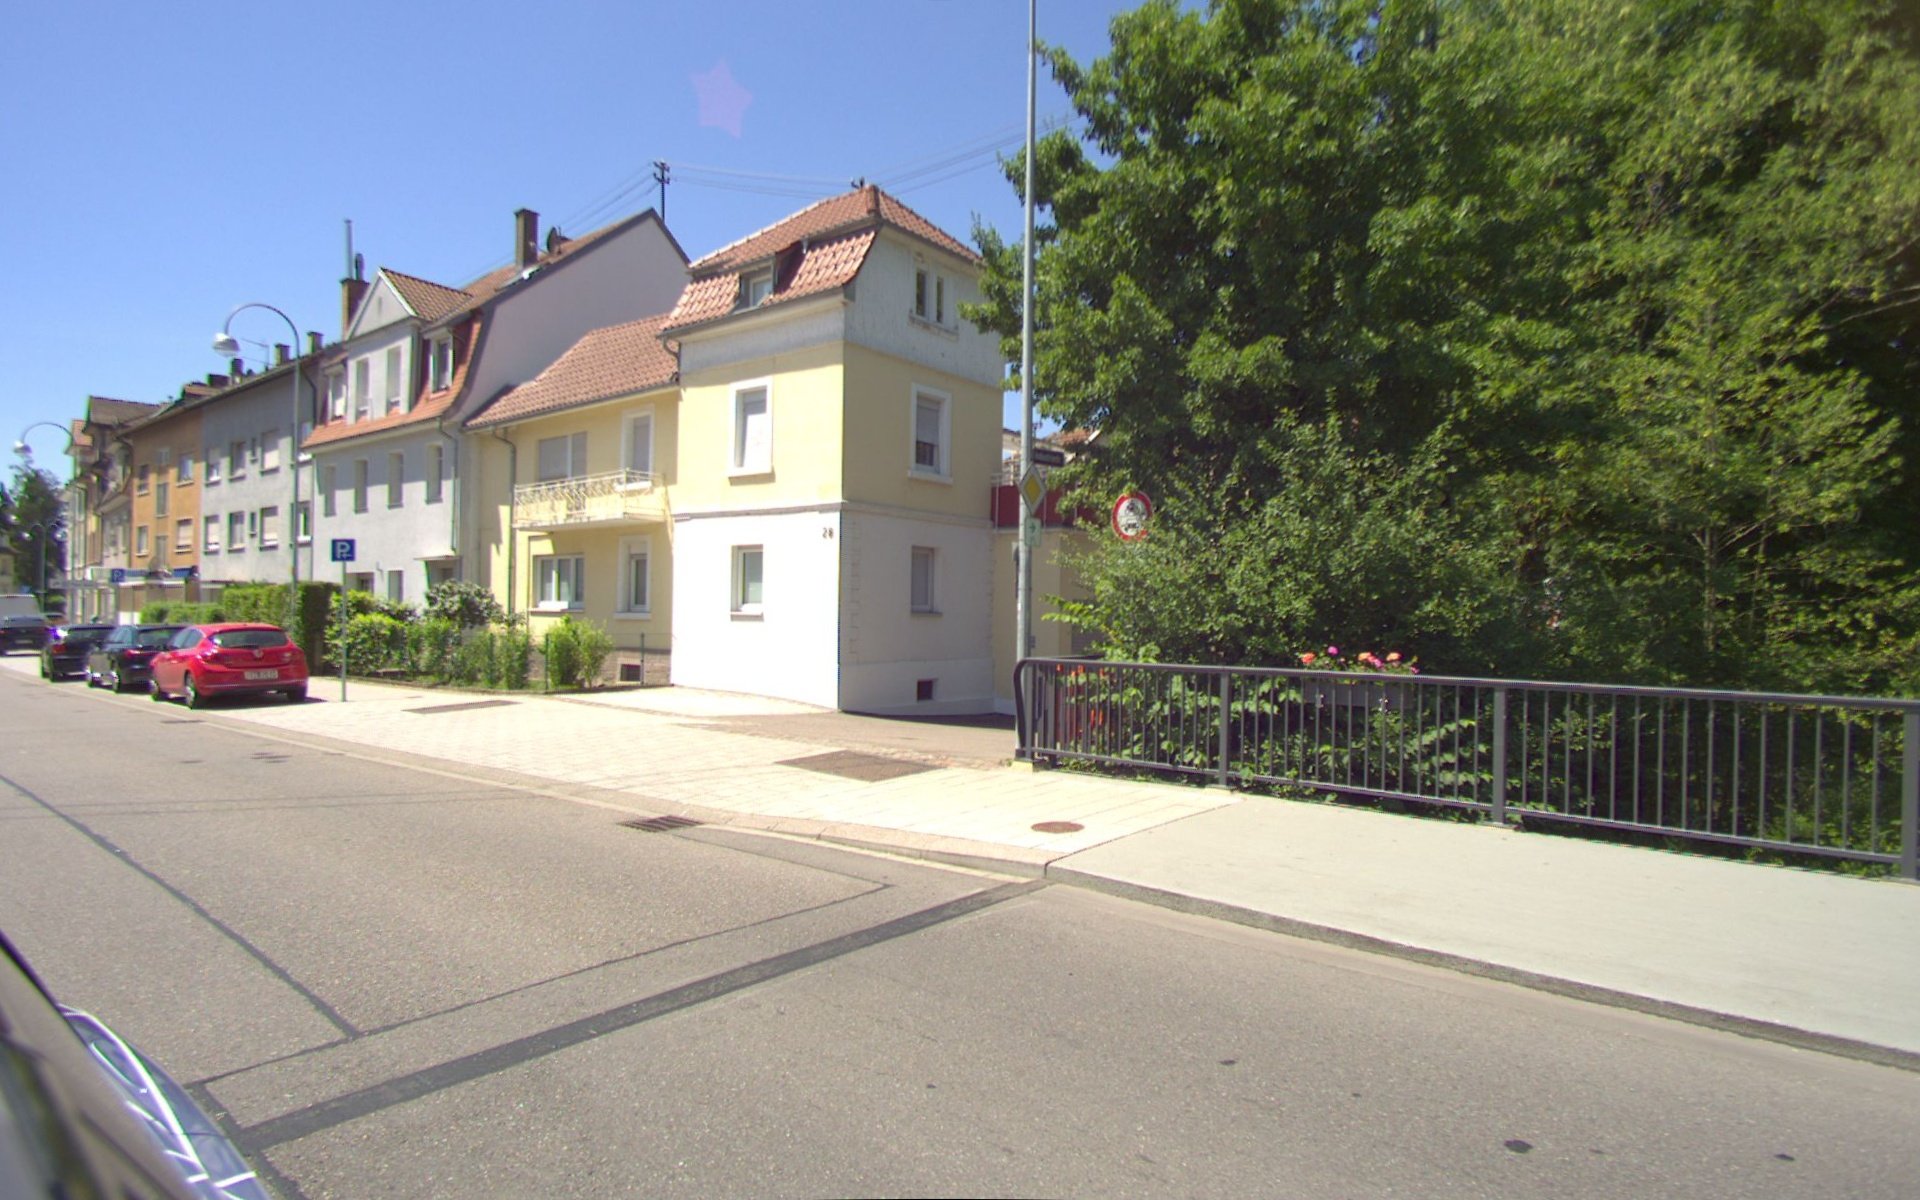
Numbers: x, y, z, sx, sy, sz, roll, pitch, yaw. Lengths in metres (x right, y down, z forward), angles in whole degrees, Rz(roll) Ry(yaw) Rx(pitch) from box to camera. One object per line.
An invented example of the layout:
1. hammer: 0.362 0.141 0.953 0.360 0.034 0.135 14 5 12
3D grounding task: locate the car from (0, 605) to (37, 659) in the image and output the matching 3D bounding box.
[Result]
1. car: -46.378 1.492 48.969 6.118 2.468 2.096 -1 0 44

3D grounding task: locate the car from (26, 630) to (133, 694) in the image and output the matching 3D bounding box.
1. car: -23.414 1.582 26.857 4.199 1.470 1.768 -2 1 44

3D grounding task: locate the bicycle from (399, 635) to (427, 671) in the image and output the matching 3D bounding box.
1. bicycle: -14.954 1.451 27.674 1.162 0.914 0.230 1 0 39

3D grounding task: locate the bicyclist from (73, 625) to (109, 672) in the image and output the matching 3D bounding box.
1. bicyclist: -30.999 1.718 36.102 0.834 1.672 0.774 -1 -2 38

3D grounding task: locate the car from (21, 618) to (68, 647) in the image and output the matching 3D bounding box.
1. car: -51.896 1.821 57.343 4.117 1.553 1.774 -1 -1 45

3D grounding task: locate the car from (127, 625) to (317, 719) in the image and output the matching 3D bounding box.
1. car: -14.158 1.264 19.309 4.734 1.491 1.859 -1 1 40

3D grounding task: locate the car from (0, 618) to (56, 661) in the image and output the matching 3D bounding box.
1. car: -38.312 1.568 41.256 2.059 1.627 5.116 0 -1 -41

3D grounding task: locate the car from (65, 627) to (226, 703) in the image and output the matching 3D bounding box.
1. car: -18.600 1.400 23.001 5.302 1.472 1.845 -2 0 40
